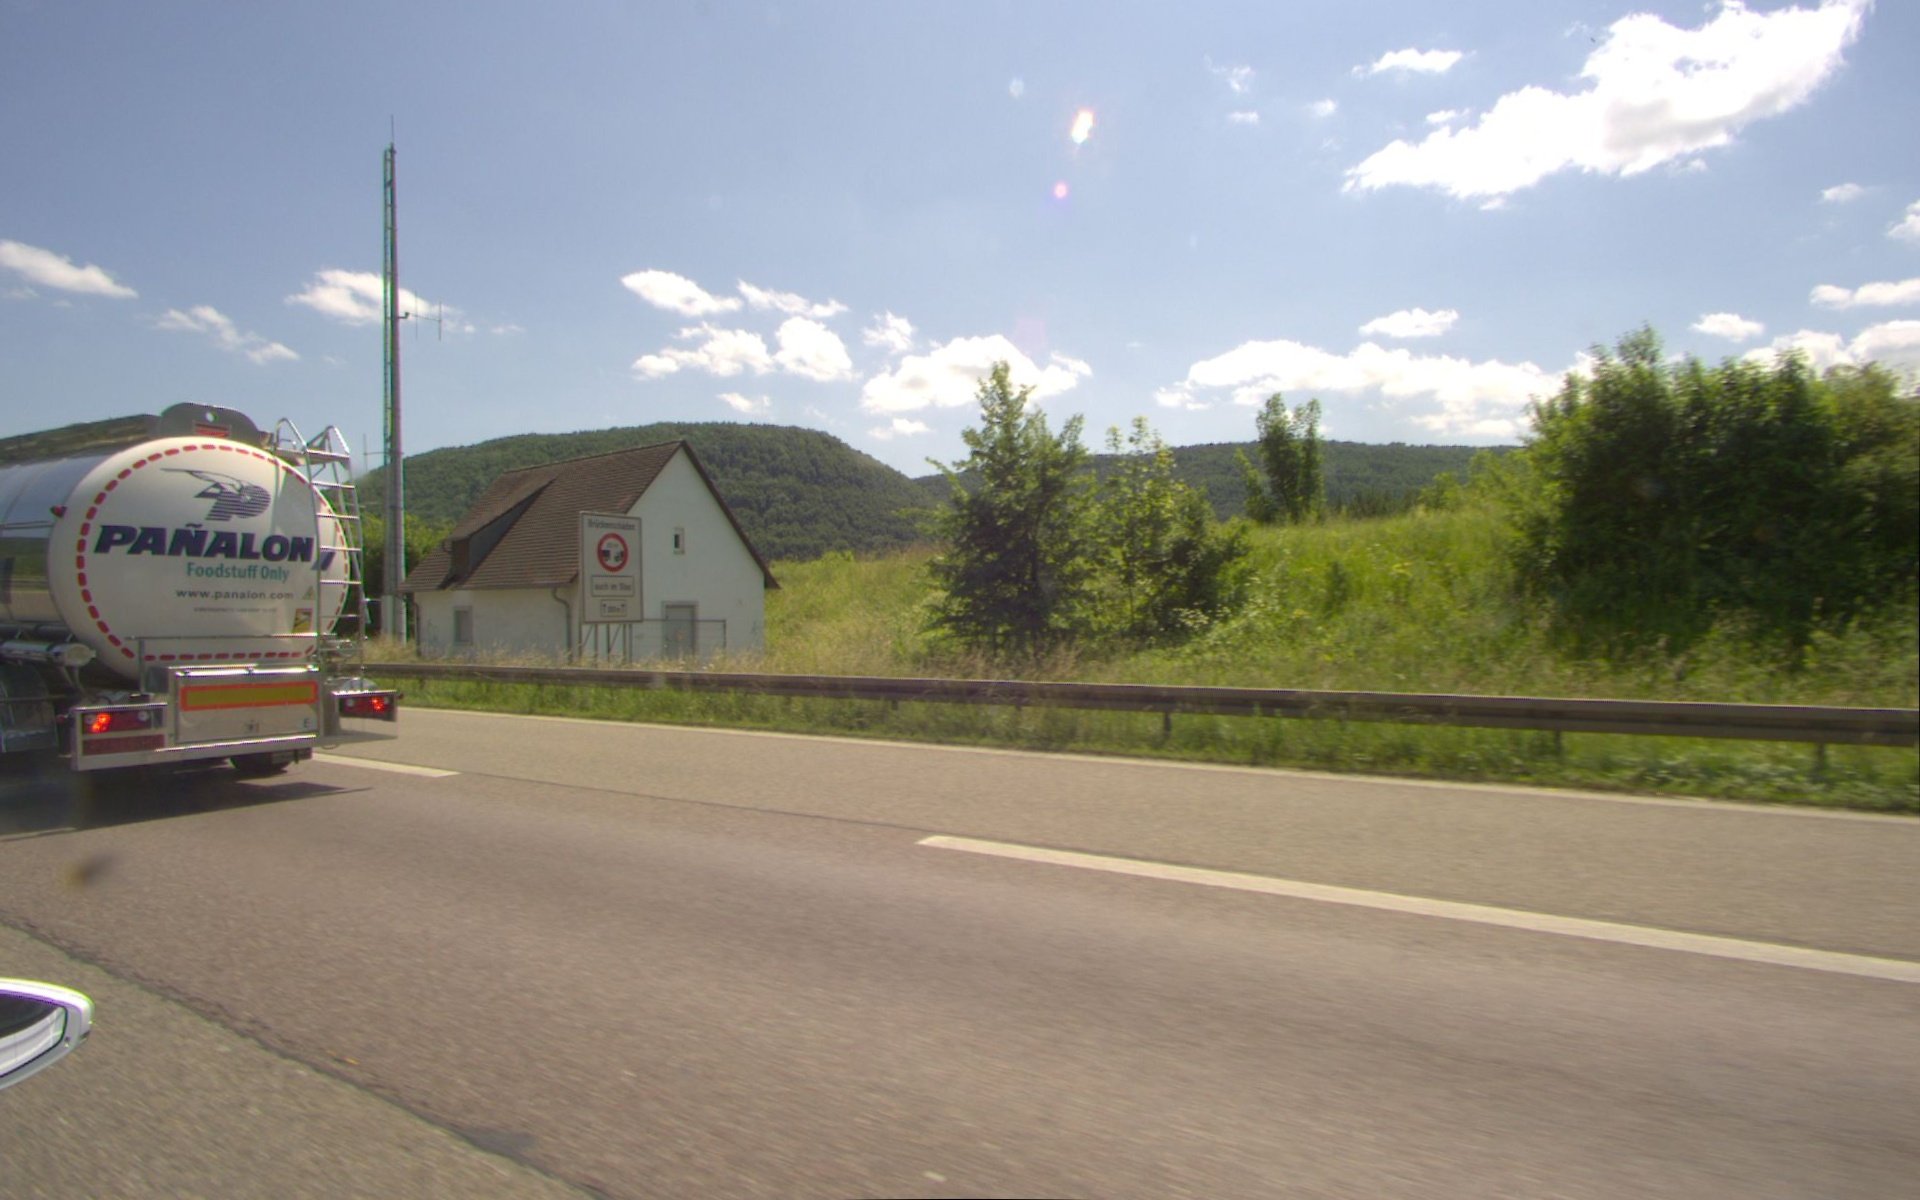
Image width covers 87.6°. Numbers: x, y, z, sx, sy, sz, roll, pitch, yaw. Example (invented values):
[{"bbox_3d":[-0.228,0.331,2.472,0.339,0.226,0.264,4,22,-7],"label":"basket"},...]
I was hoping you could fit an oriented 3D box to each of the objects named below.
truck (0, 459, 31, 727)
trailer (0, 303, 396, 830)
[{"bbox_3d":[-16.311,-0.083,14.805,5.170,3.807,2.507,-1,-1,32],"label":"truck"},{"bbox_3d":[-10.890,-0.124,11.380,11.720,3.783,2.534,-1,-1,32],"label":"trailer"}]
